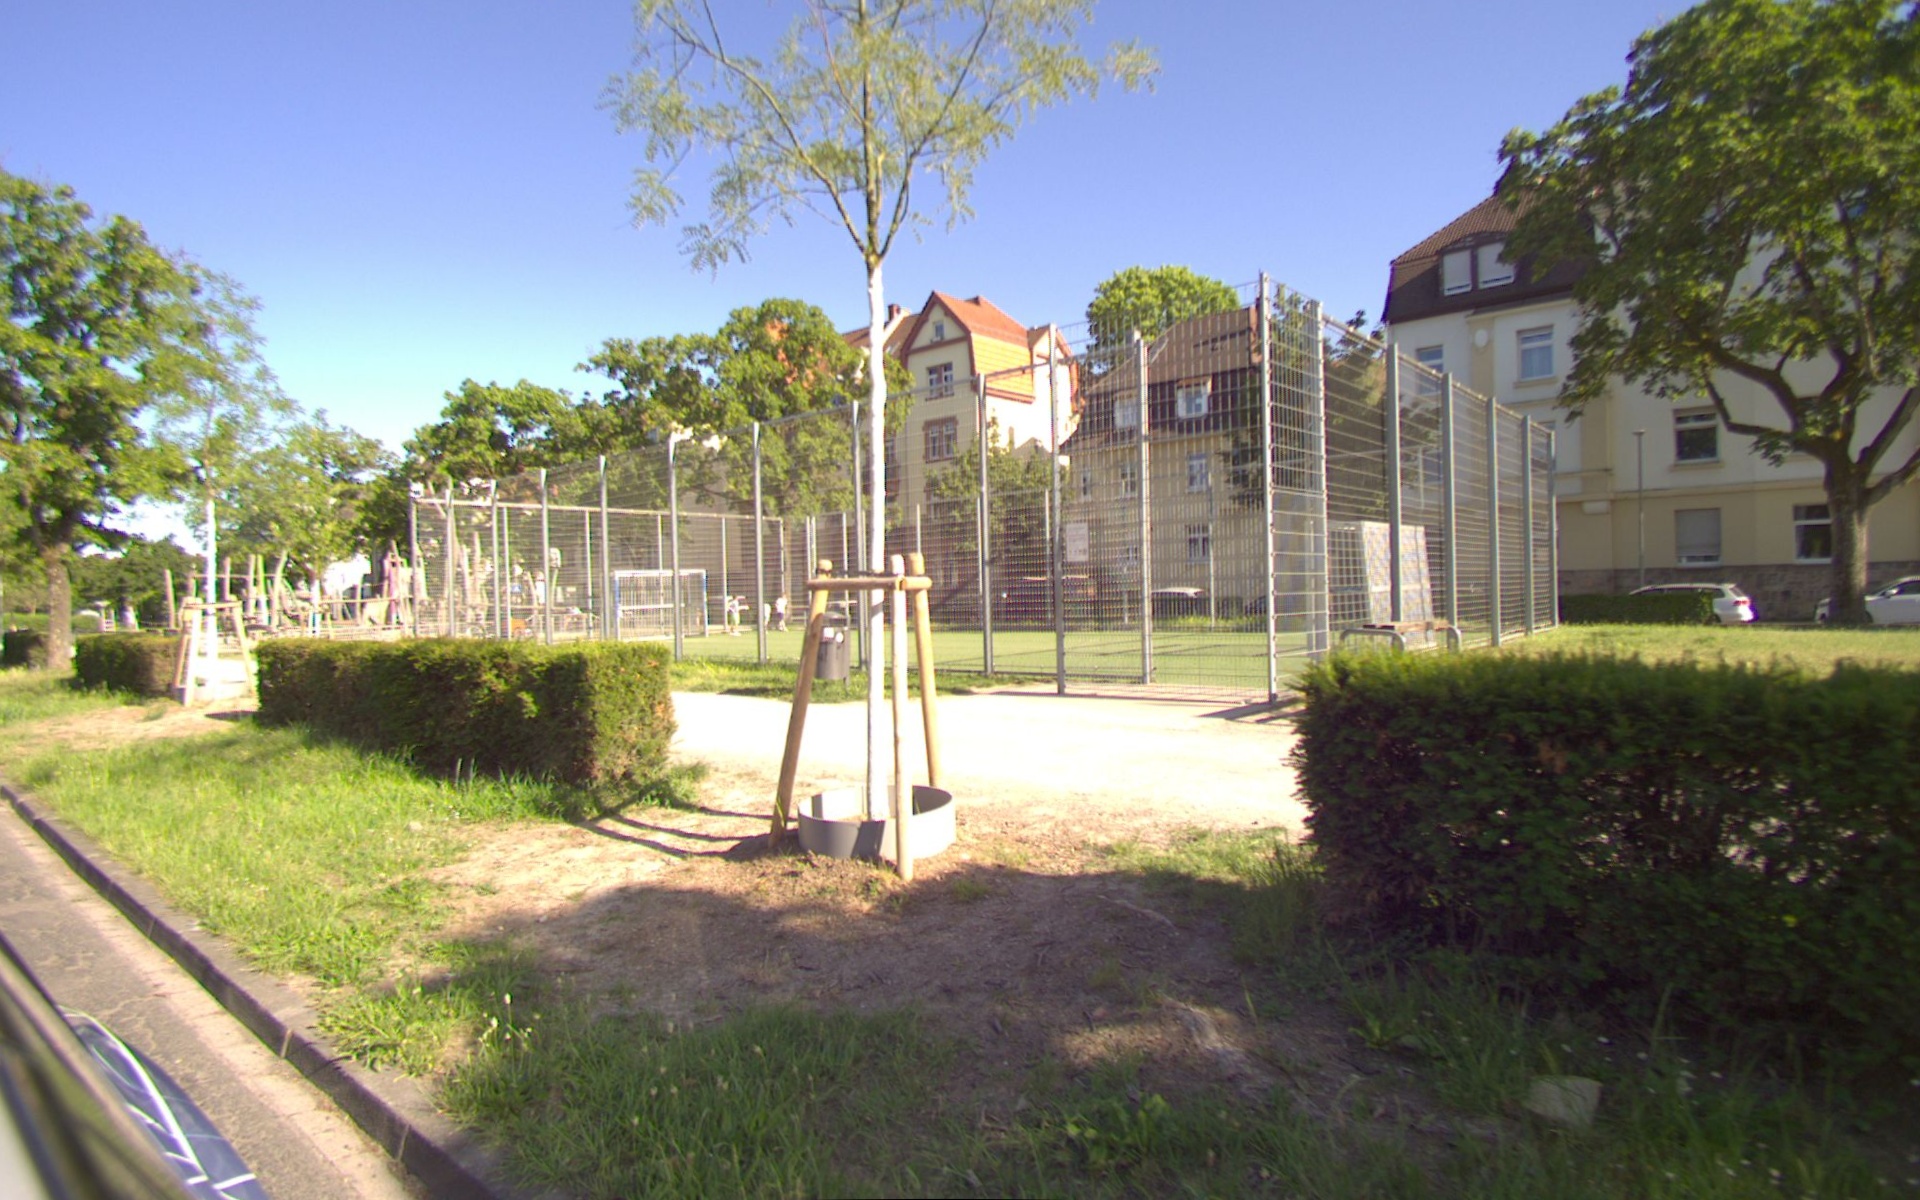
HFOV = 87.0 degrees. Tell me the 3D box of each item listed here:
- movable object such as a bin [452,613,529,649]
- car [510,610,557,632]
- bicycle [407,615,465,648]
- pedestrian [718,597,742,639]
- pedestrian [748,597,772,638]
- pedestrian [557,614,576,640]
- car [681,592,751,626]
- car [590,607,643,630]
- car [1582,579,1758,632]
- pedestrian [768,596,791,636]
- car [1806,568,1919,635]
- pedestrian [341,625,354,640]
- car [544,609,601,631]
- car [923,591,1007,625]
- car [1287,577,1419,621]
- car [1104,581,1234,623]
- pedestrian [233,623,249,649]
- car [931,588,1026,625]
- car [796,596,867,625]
[{"bbox_3d":[-16.995,1.108,36.681,1.054,1.251,2.309,-2,-1,37],"label":"movable object such as a bin"},{"bbox_3d":[-33.743,1.663,79.975,3.997,1.566,1.776,-2,0,41],"label":"car"},{"bbox_3d":[-18.997,1.122,36.726,0.499,1.116,1.777,-2,0,39],"label":"bicycle"},{"bbox_3d":[-7.470,0.581,32.881,0.639,1.328,0.652,-2,0,-20],"label":"pedestrian"},{"bbox_3d":[-6.567,0.567,33.282,0.639,1.328,0.652,-2,0,-20],"label":"pedestrian"},{"bbox_3d":[-20.111,1.372,51.766,0.649,1.328,0.642,-2,0,38],"label":"pedestrian"},{"bbox_3d":[-15.486,0.593,64.121,4.833,1.997,1.776,-2,0,41],"label":"car"},{"bbox_3d":[-24.396,1.294,71.764,3.998,1.521,1.776,-2,0,41],"label":"car"},{"bbox_3d":[22.266,0.183,31.822,4.345,1.521,1.776,-2,0,41],"label":"car"},{"bbox_3d":[-6.201,0.540,34.725,0.639,1.328,0.652,-2,0,-20],"label":"pedestrian"},{"bbox_3d":[26.394,0.030,28.027,4.486,1.790,1.776,-2,0,41],"label":"car"},{"bbox_3d":[-40.558,2.165,67.017,0.535,0.986,0.779,-2,0,-42],"label":"pedestrian"},{"bbox_3d":[-29.318,1.509,76.528,4.760,1.521,1.887,-2,0,40],"label":"car"},{"bbox_3d":[0.221,0.408,50.324,3.998,1.521,1.776,-2,0,41],"label":"car"},{"bbox_3d":[14.712,-0.009,38.007,4.229,1.521,1.776,-2,0,41],"label":"car"},{"bbox_3d":[8.874,0.110,43.264,5.180,1.664,1.862,-2,0,41],"label":"car"},{"bbox_3d":[-38.398,1.932,54.037,0.639,1.339,0.652,-2,0,-31],"label":"pedestrian"},{"bbox_3d":[0.783,0.311,44.885,3.998,1.521,1.776,-2,0,41],"label":"car"},{"bbox_3d":[-7.318,0.619,57.488,3.998,1.521,1.776,-2,0,41],"label":"car"}]
